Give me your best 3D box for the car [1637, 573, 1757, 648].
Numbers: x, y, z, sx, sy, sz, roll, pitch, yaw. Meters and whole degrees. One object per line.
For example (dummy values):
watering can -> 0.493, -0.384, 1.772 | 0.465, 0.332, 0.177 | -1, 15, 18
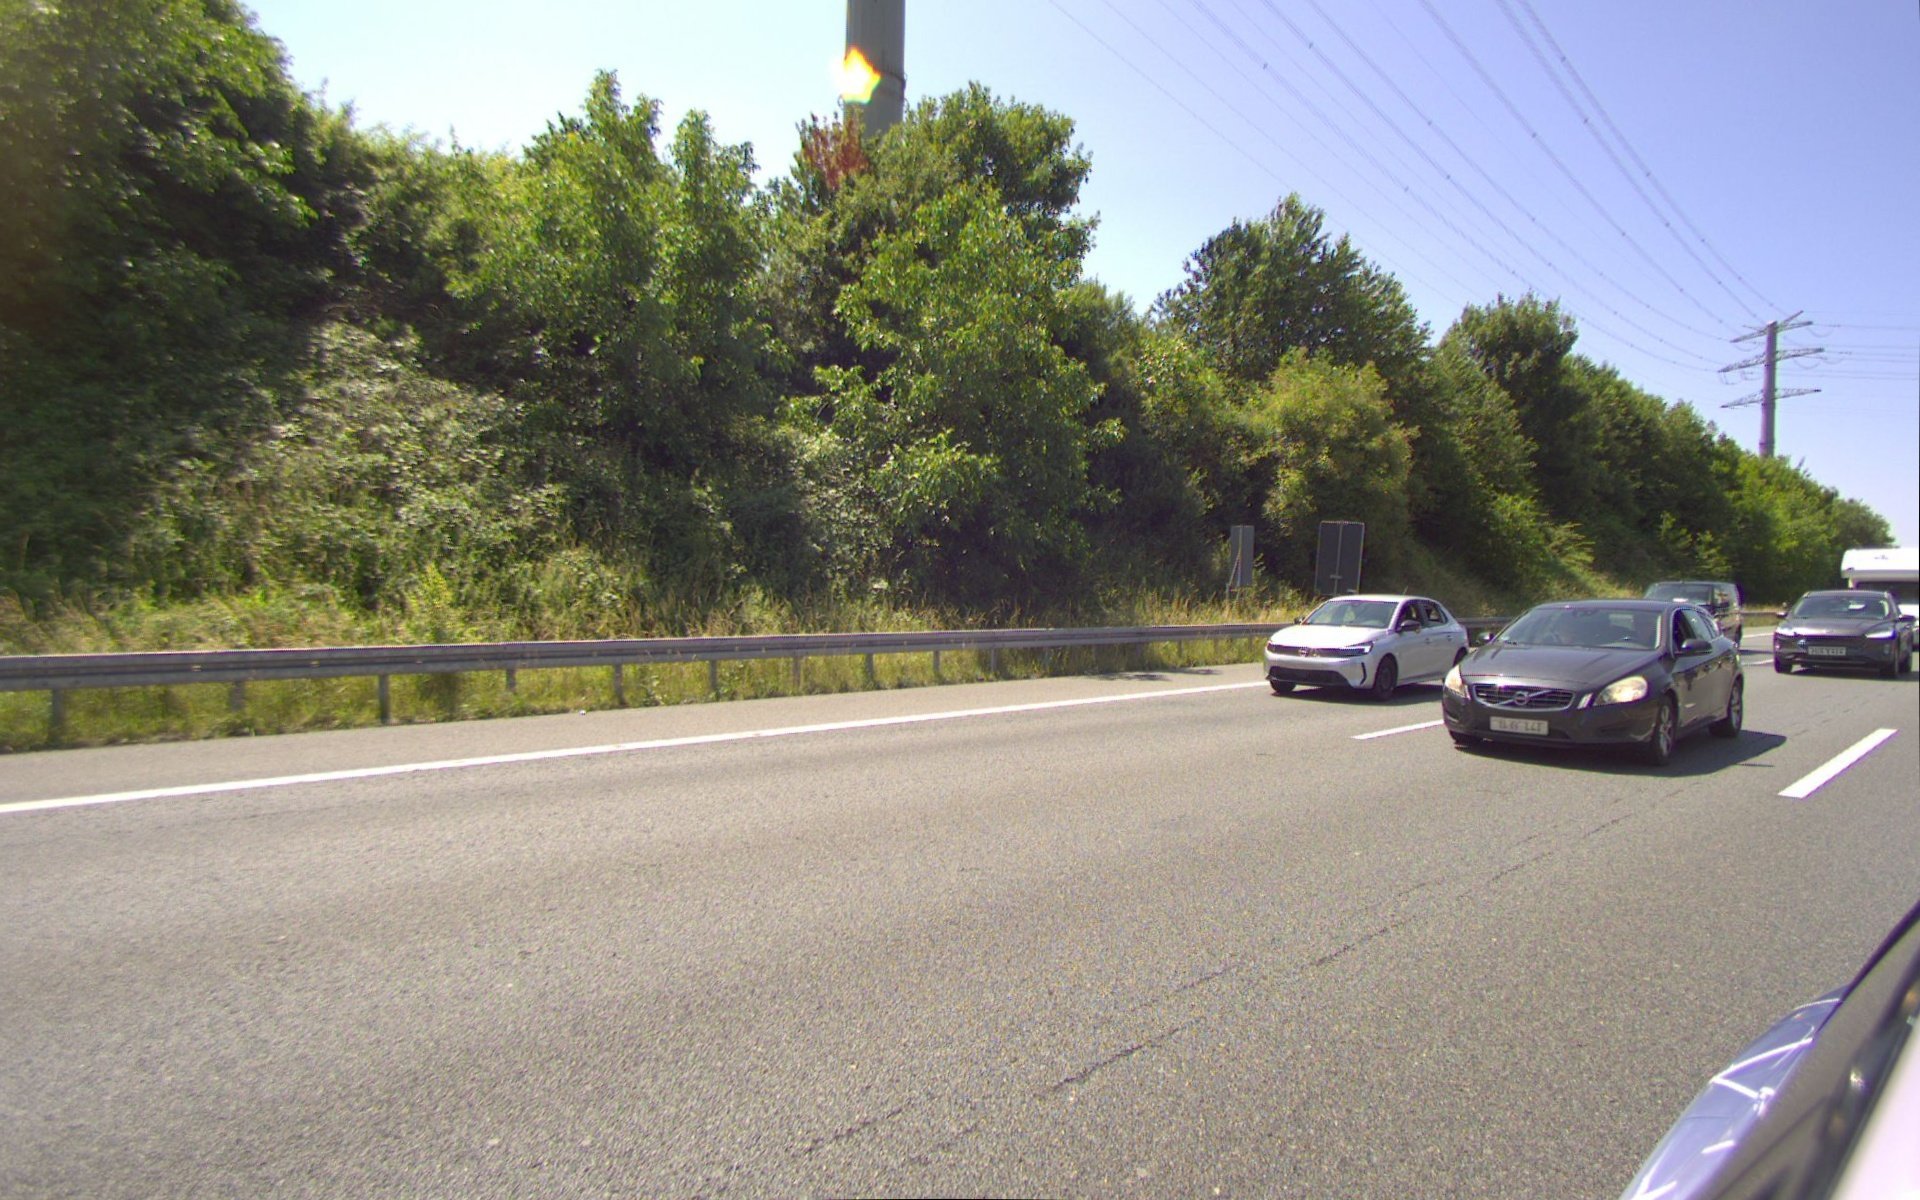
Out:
car -> 20.585, 0.255, 28.183 | 4.617, 1.928, 1.786 | -1, 0, -42

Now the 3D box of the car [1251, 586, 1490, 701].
car -> 6.188, 0.547, 15.074 | 3.944, 1.488, 1.743 | 0, 0, -41

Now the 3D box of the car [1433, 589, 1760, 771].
car -> 6.518, 0.615, 10.166 | 4.160, 1.455, 1.798 | -1, 1, -43

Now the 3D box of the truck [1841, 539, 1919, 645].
truck -> 30.958, -0.275, 32.601 | 9.724, 3.053, 2.512 | -1, 0, -41

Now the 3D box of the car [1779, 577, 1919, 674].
car -> 18.032, 0.433, 20.328 | 4.310, 1.724, 1.889 | -1, 1, -43
